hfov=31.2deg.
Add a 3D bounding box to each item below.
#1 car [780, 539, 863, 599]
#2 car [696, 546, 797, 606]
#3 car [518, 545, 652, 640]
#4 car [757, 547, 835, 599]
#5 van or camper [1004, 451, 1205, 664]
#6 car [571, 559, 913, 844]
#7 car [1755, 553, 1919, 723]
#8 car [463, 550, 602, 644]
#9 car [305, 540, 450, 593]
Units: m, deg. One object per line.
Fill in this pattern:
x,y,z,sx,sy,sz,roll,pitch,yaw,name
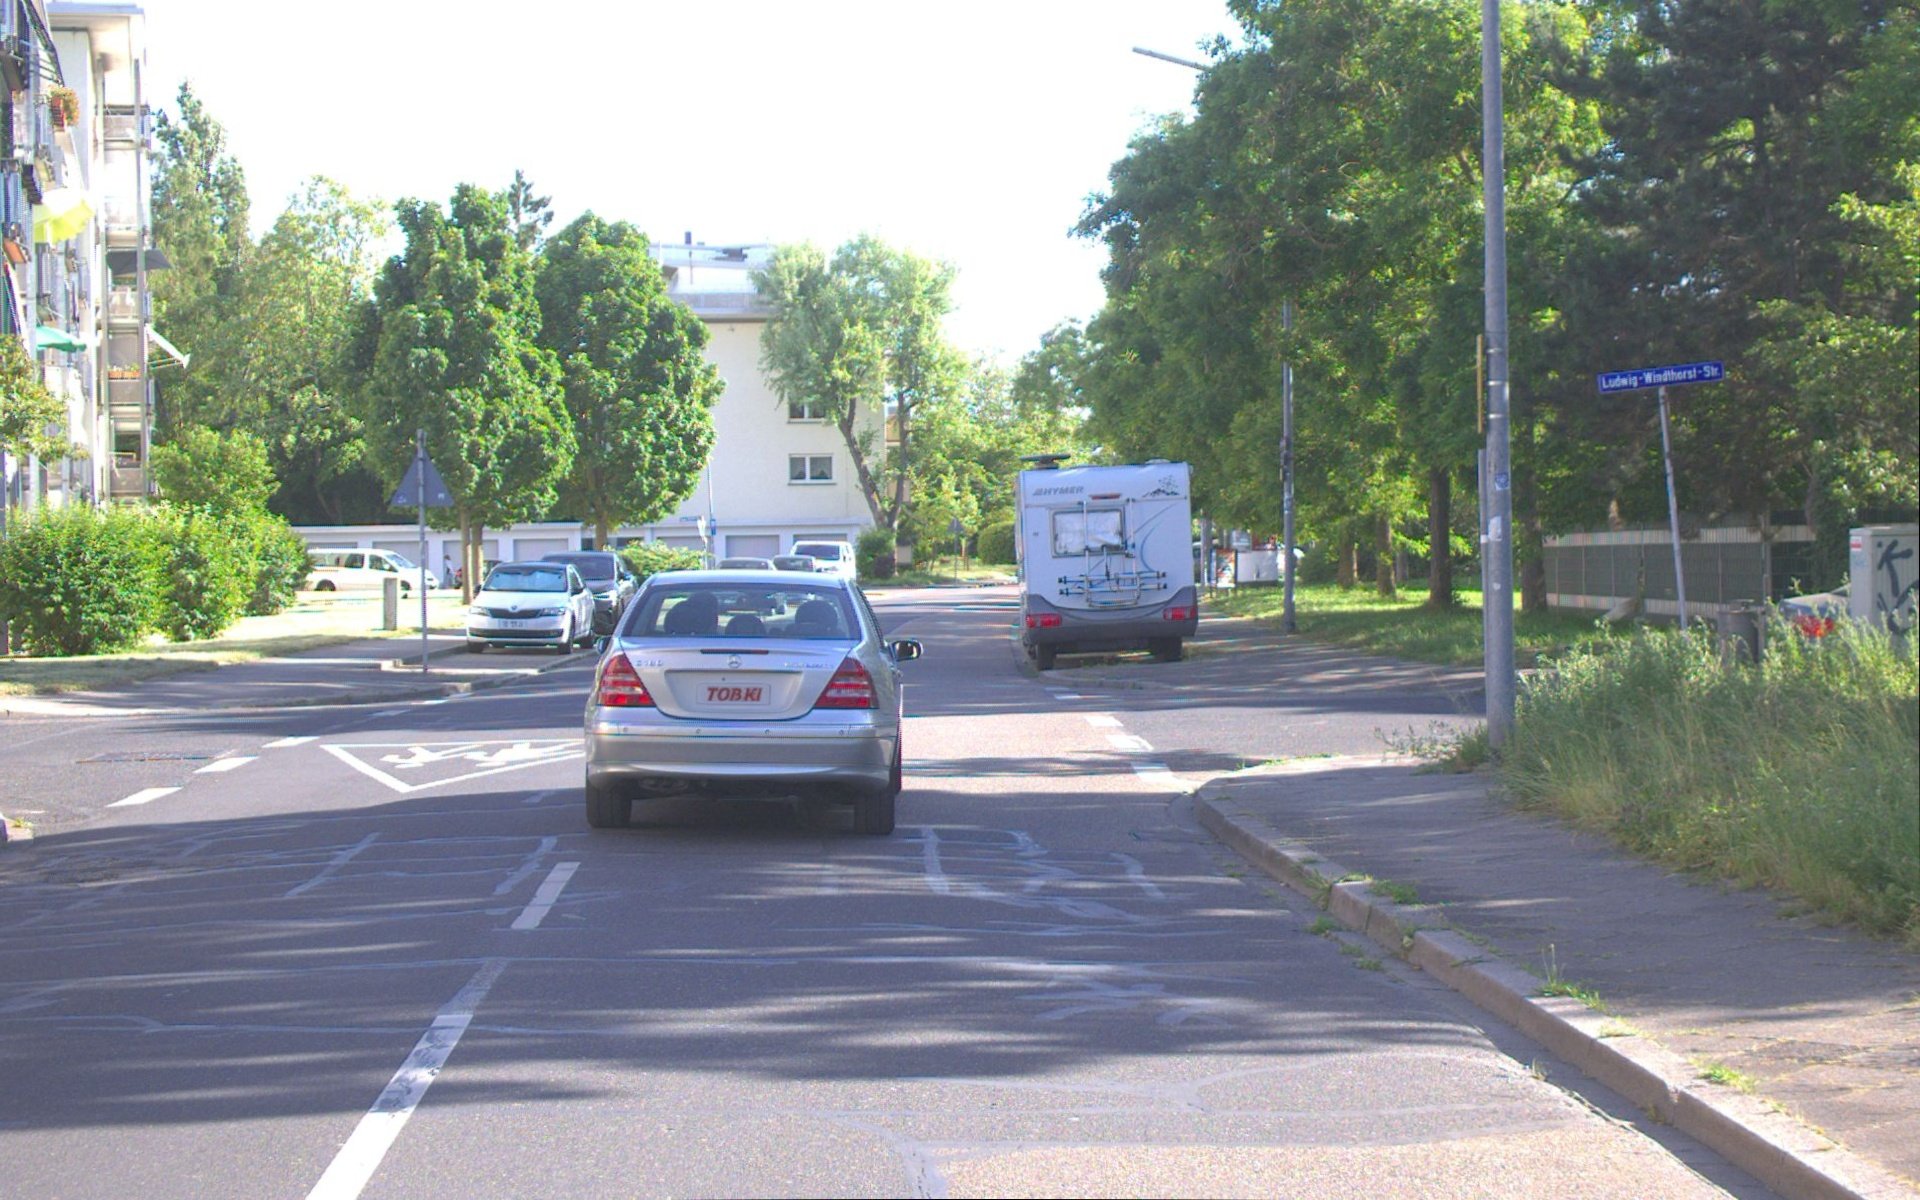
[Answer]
-4.435,-1.008,110.807,2.014,1.879,5.190,1,1,5,car
-5.640,-0.667,91.528,2.035,1.487,5.256,2,1,3,car
-6.796,-0.172,62.757,1.914,1.598,4.812,2,1,-1,car
-4.953,-0.814,104.334,1.833,1.513,4.221,1,1,4,car
1.896,-0.602,47.445,2.351,2.587,6.426,-4,1,0,van or camper
-1.202,0.504,19.472,1.733,1.429,3.438,-1,1,-3,car
9.085,0.298,28.921,4.425,1.333,1.746,0,2,3,car
-6.947,-0.075,56.222,1.646,1.461,4.331,0,1,1,car
-22.764,-1.307,134.369,5.108,1.944,2.236,-1,1,12,car
